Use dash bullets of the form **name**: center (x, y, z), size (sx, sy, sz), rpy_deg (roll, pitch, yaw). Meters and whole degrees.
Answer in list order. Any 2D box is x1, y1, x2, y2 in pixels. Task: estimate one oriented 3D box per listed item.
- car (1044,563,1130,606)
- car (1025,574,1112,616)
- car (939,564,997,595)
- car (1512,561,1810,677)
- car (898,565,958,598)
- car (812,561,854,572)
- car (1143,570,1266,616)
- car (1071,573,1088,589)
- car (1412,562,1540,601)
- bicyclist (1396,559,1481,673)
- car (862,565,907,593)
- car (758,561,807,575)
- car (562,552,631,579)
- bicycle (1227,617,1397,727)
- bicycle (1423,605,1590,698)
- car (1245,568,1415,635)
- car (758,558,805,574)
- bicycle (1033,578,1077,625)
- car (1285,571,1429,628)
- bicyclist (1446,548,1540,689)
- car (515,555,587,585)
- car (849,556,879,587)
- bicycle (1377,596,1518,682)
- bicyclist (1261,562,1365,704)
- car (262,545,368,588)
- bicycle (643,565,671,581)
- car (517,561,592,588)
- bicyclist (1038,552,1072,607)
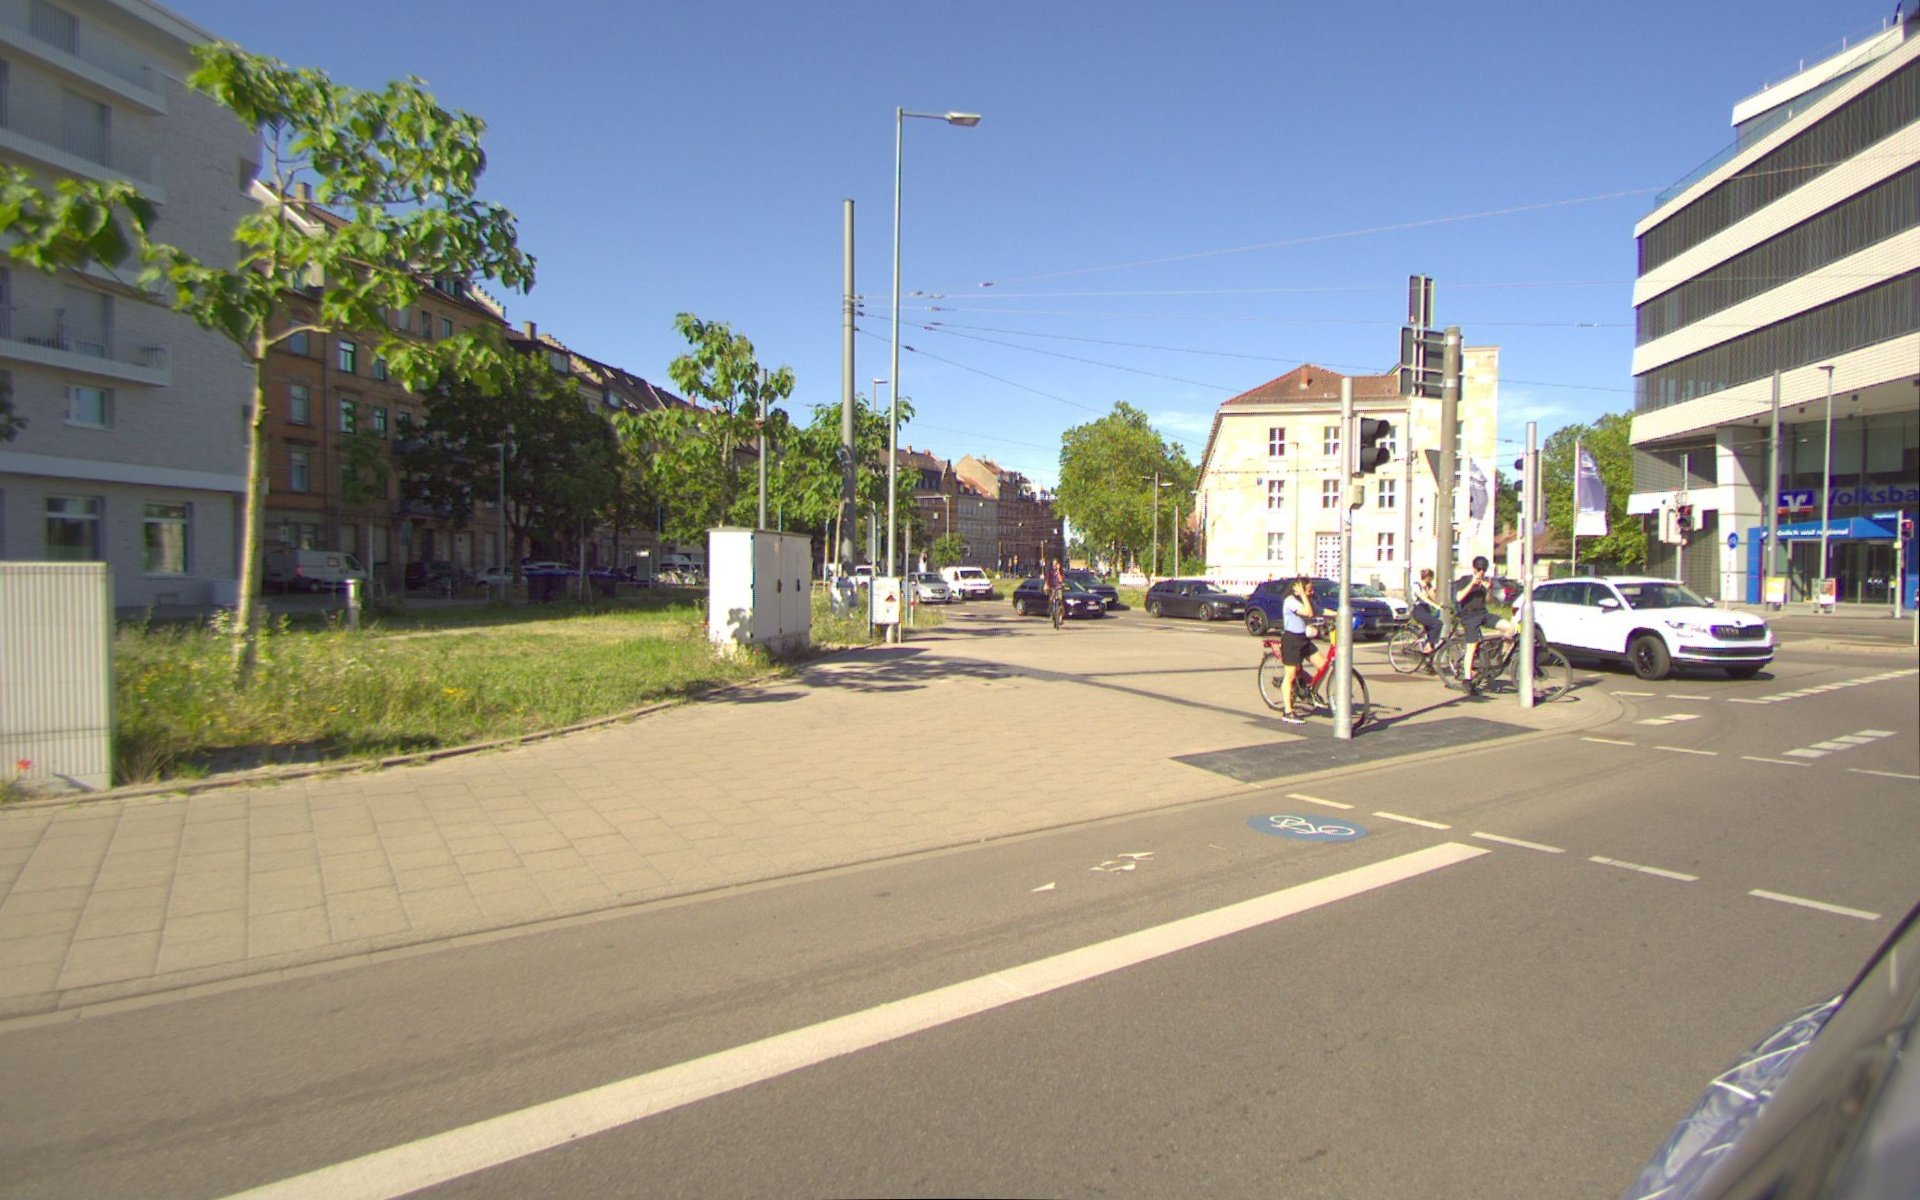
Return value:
- **car**: center (5.345, -0.707, 43.190), size (1.733, 1.705, 4.337), rpy_deg (-2, 3, -22)
- **car**: center (3.998, -0.240, 37.807), size (1.553, 1.451, 3.846), rpy_deg (-1, 2, -23)
- **car**: center (0.387, -1.155, 55.529), size (1.835, 1.575, 4.009), rpy_deg (0, 2, -21)
- **car**: center (11.804, 0.201, 17.476), size (1.837, 1.650, 4.345), rpy_deg (-2, 3, -6)
- **car**: center (-1.678, -0.954, 51.065), size (1.835, 1.575, 4.009), rpy_deg (0, 2, -20)
- **car**: center (-14.237, -3.800, 113.460), size (4.310, 1.225, 2.004), rpy_deg (-1, 2, -24)
- **car**: center (8.573, -0.308, 35.897), size (1.804, 1.448, 4.493), rpy_deg (-2, 3, -25)
- **car**: center (13.653, -2.159, 115.425), size (1.741, 1.771, 3.992), rpy_deg (0, 2, 8)
- **car**: center (21.224, -0.790, 41.760), size (1.964, 1.518, 4.307), rpy_deg (-1, 2, -38)
- **bicyclist**: center (7.438, 0.226, 15.775), size (0.583, 1.674, 1.006), rpy_deg (1, 3, -20)
- **car**: center (-4.499, -1.260, 59.673), size (1.835, 1.575, 4.010), rpy_deg (0, 2, -16)
- **car**: center (-16.486, -2.995, 93.766), size (4.308, 1.249, 2.005), rpy_deg (0, 2, -14)
- **car**: center (-22.696, -2.164, 63.246), size (3.917, 1.682, 2.004), rpy_deg (-1, 2, -24)
- **bicycle**: center (3.714, 0.719, 10.832), size (0.682, 0.966, 1.711), rpy_deg (1, 3, -26)
- **bicycle**: center (7.265, 0.648, 13.566), size (0.594, 1.050, 1.898), rpy_deg (1, 3, -31)
- **car**: center (9.548, -0.024, 26.436), size (1.836, 1.575, 4.007), rpy_deg (-1, 2, -26)
- **car**: center (-17.011, -3.204, 96.453), size (4.308, 1.479, 2.005), rpy_deg (0, 2, -14)
- **bicycle**: center (2.468, 0.016, 26.439), size (0.682, 1.118, 2.015), rpy_deg (2, 3, -7)
- **car**: center (11.620, -0.081, 29.868), size (1.636, 1.448, 3.842), rpy_deg (-4, 4, -26)
- **bicyclist**: center (7.195, 0.226, 13.686), size (0.539, 1.820, 0.907), rpy_deg (1, 2, -31)
- **car**: center (-24.215, -1.780, 59.918), size (3.917, 1.682, 2.004), rpy_deg (-1, 2, -24)
- **car**: center (-6.321, -1.928, 67.299), size (1.838, 2.006, 4.660), rpy_deg (0, 2, -4)
- **bicycle**: center (7.469, 0.566, 15.626), size (0.682, 1.118, 2.017), rpy_deg (2, 3, -19)
- **bicyclist**: center (3.727, 0.327, 10.730), size (0.577, 1.421, 0.829), rpy_deg (1, 2, -26)
- **car**: center (-33.259, -1.745, 52.355), size (1.969, 2.138, 4.626), rpy_deg (0, 2, 12)
- **bicycle**: center (-19.801, -1.754, 66.142), size (1.728, 1.037, 0.452), rpy_deg (0, 1, -1)
- **car**: center (-23.294, -1.483, 58.079), size (3.917, 1.482, 2.004), rpy_deg (-1, 2, -24)
- **bicyclist**: center (2.483, -0.553, 26.512), size (0.682, 1.394, 0.739), rpy_deg (2, 2, -7)
